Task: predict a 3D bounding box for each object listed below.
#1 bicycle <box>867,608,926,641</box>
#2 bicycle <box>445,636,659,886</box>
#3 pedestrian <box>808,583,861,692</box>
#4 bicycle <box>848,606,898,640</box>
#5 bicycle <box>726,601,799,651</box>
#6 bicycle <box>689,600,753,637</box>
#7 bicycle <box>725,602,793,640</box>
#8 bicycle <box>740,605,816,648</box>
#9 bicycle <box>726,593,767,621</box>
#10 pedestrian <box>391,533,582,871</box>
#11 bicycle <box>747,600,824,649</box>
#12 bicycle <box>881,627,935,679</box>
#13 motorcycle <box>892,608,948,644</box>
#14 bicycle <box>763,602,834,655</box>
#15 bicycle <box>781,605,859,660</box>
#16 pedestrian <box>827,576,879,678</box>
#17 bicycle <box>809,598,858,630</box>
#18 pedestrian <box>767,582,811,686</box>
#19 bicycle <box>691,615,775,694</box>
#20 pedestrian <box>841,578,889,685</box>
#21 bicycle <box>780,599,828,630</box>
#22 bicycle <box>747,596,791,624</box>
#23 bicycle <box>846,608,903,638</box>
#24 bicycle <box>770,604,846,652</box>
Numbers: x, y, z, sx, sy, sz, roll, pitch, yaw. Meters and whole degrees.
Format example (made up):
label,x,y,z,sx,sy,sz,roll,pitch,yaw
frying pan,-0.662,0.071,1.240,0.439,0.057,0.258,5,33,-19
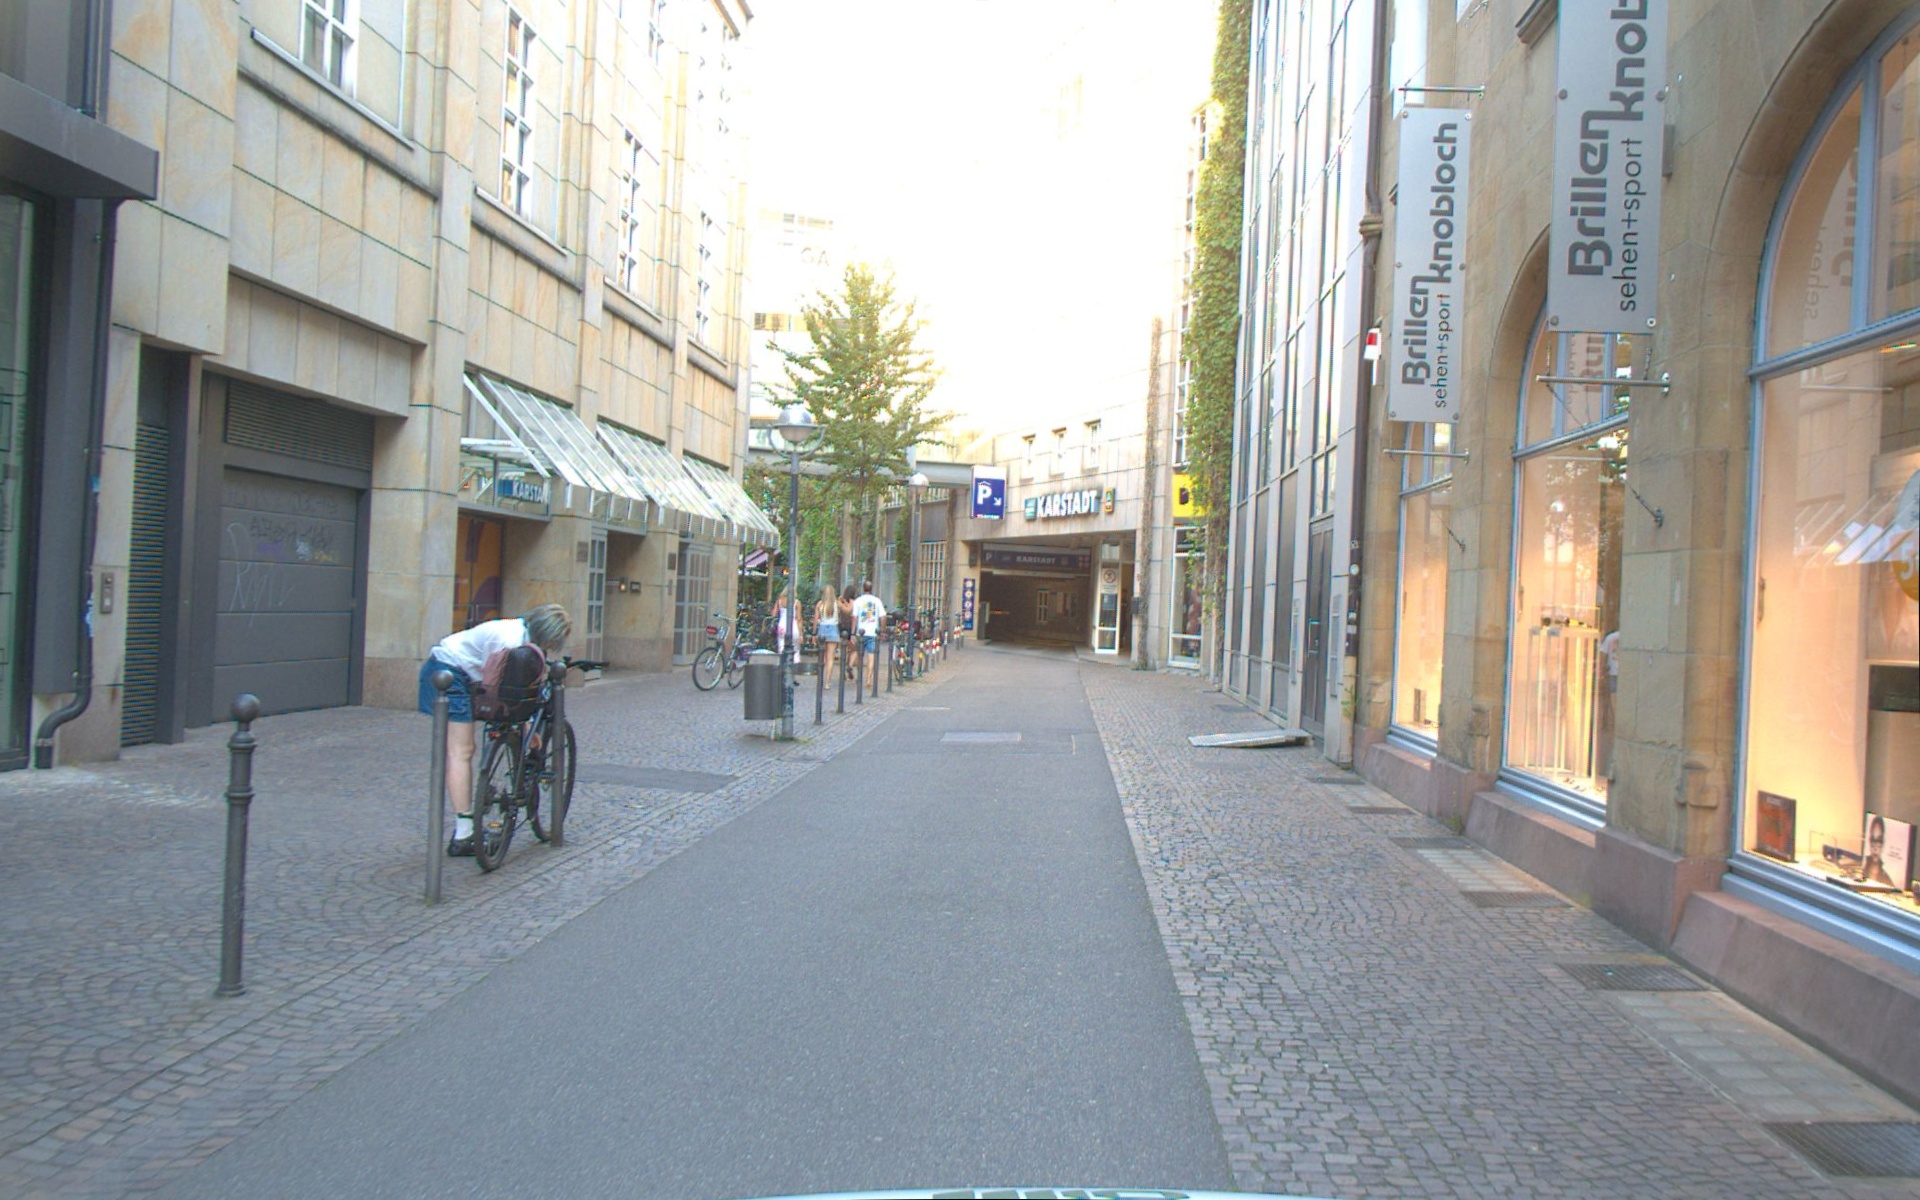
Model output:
label,x,y,z,sx,sy,sz,roll,pitch,yaw
bicycle,-2.016,0.785,52.566,1.819,0.999,0.461,2,0,-18
bicycle,-2.224,0.827,9.251,0.521,1.173,1.916,4,0,4
pedestrian,-2.095,0.607,27.602,0.791,1.759,0.947,2,0,-6
bicycle,-2.855,0.753,54.408,1.515,1.067,0.572,2,0,-18
bicycle,-5.161,0.680,43.239,1.806,1.246,0.531,1,0,-20
bicycle,-7.053,0.543,48.875,1.797,1.061,0.531,1,0,-20
bicycle,-5.723,0.598,47.054,1.849,1.061,0.531,1,0,-20
bicycle,-4.686,0.689,42.542,1.866,1.070,0.531,1,0,-20
bicycle,-9.646,0.336,74.823,1.745,1.211,0.583,2,0,-18
pedestrian,-2.590,0.542,9.098,0.752,1.748,0.592,4,0,2
bicycle,-4.435,0.619,42.000,1.844,1.198,0.531,1,0,-20
bicycle,-0.997,1.021,32.260,0.482,0.955,1.660,3,0,18
motorcycle,-1.240,0.811,50.903,1.637,1.069,0.461,2,0,-18
bicycle,-3.922,0.693,40.129,1.629,1.252,0.531,1,0,-20
bicycle,-3.282,0.760,38.819,1.740,1.252,0.531,1,0,-20
pedestrian,-1.969,0.492,30.633,0.768,1.826,0.973,2,0,5
bicycle,-4.691,0.514,61.356,1.745,1.134,0.540,2,0,-18
pedestrian,-2.864,0.564,27.696,0.661,1.693,0.859,2,0,-6
bicycle,-3.489,0.820,25.550,0.510,1.158,1.765,2,0,19
pedestrian,-1.685,0.547,29.509,0.727,1.854,0.878,2,0,1
bicycle,-6.002,0.543,63.675,1.745,1.134,0.540,2,0,-18
bicycle,-8.047,0.428,69.551,1.744,1.134,0.540,2,0,-15
bicycle,-2.757,0.753,53.452,1.745,0.920,0.461,2,0,-18
bicycle,-3.768,0.700,41.014,1.809,1.142,0.531,1,0,-20
